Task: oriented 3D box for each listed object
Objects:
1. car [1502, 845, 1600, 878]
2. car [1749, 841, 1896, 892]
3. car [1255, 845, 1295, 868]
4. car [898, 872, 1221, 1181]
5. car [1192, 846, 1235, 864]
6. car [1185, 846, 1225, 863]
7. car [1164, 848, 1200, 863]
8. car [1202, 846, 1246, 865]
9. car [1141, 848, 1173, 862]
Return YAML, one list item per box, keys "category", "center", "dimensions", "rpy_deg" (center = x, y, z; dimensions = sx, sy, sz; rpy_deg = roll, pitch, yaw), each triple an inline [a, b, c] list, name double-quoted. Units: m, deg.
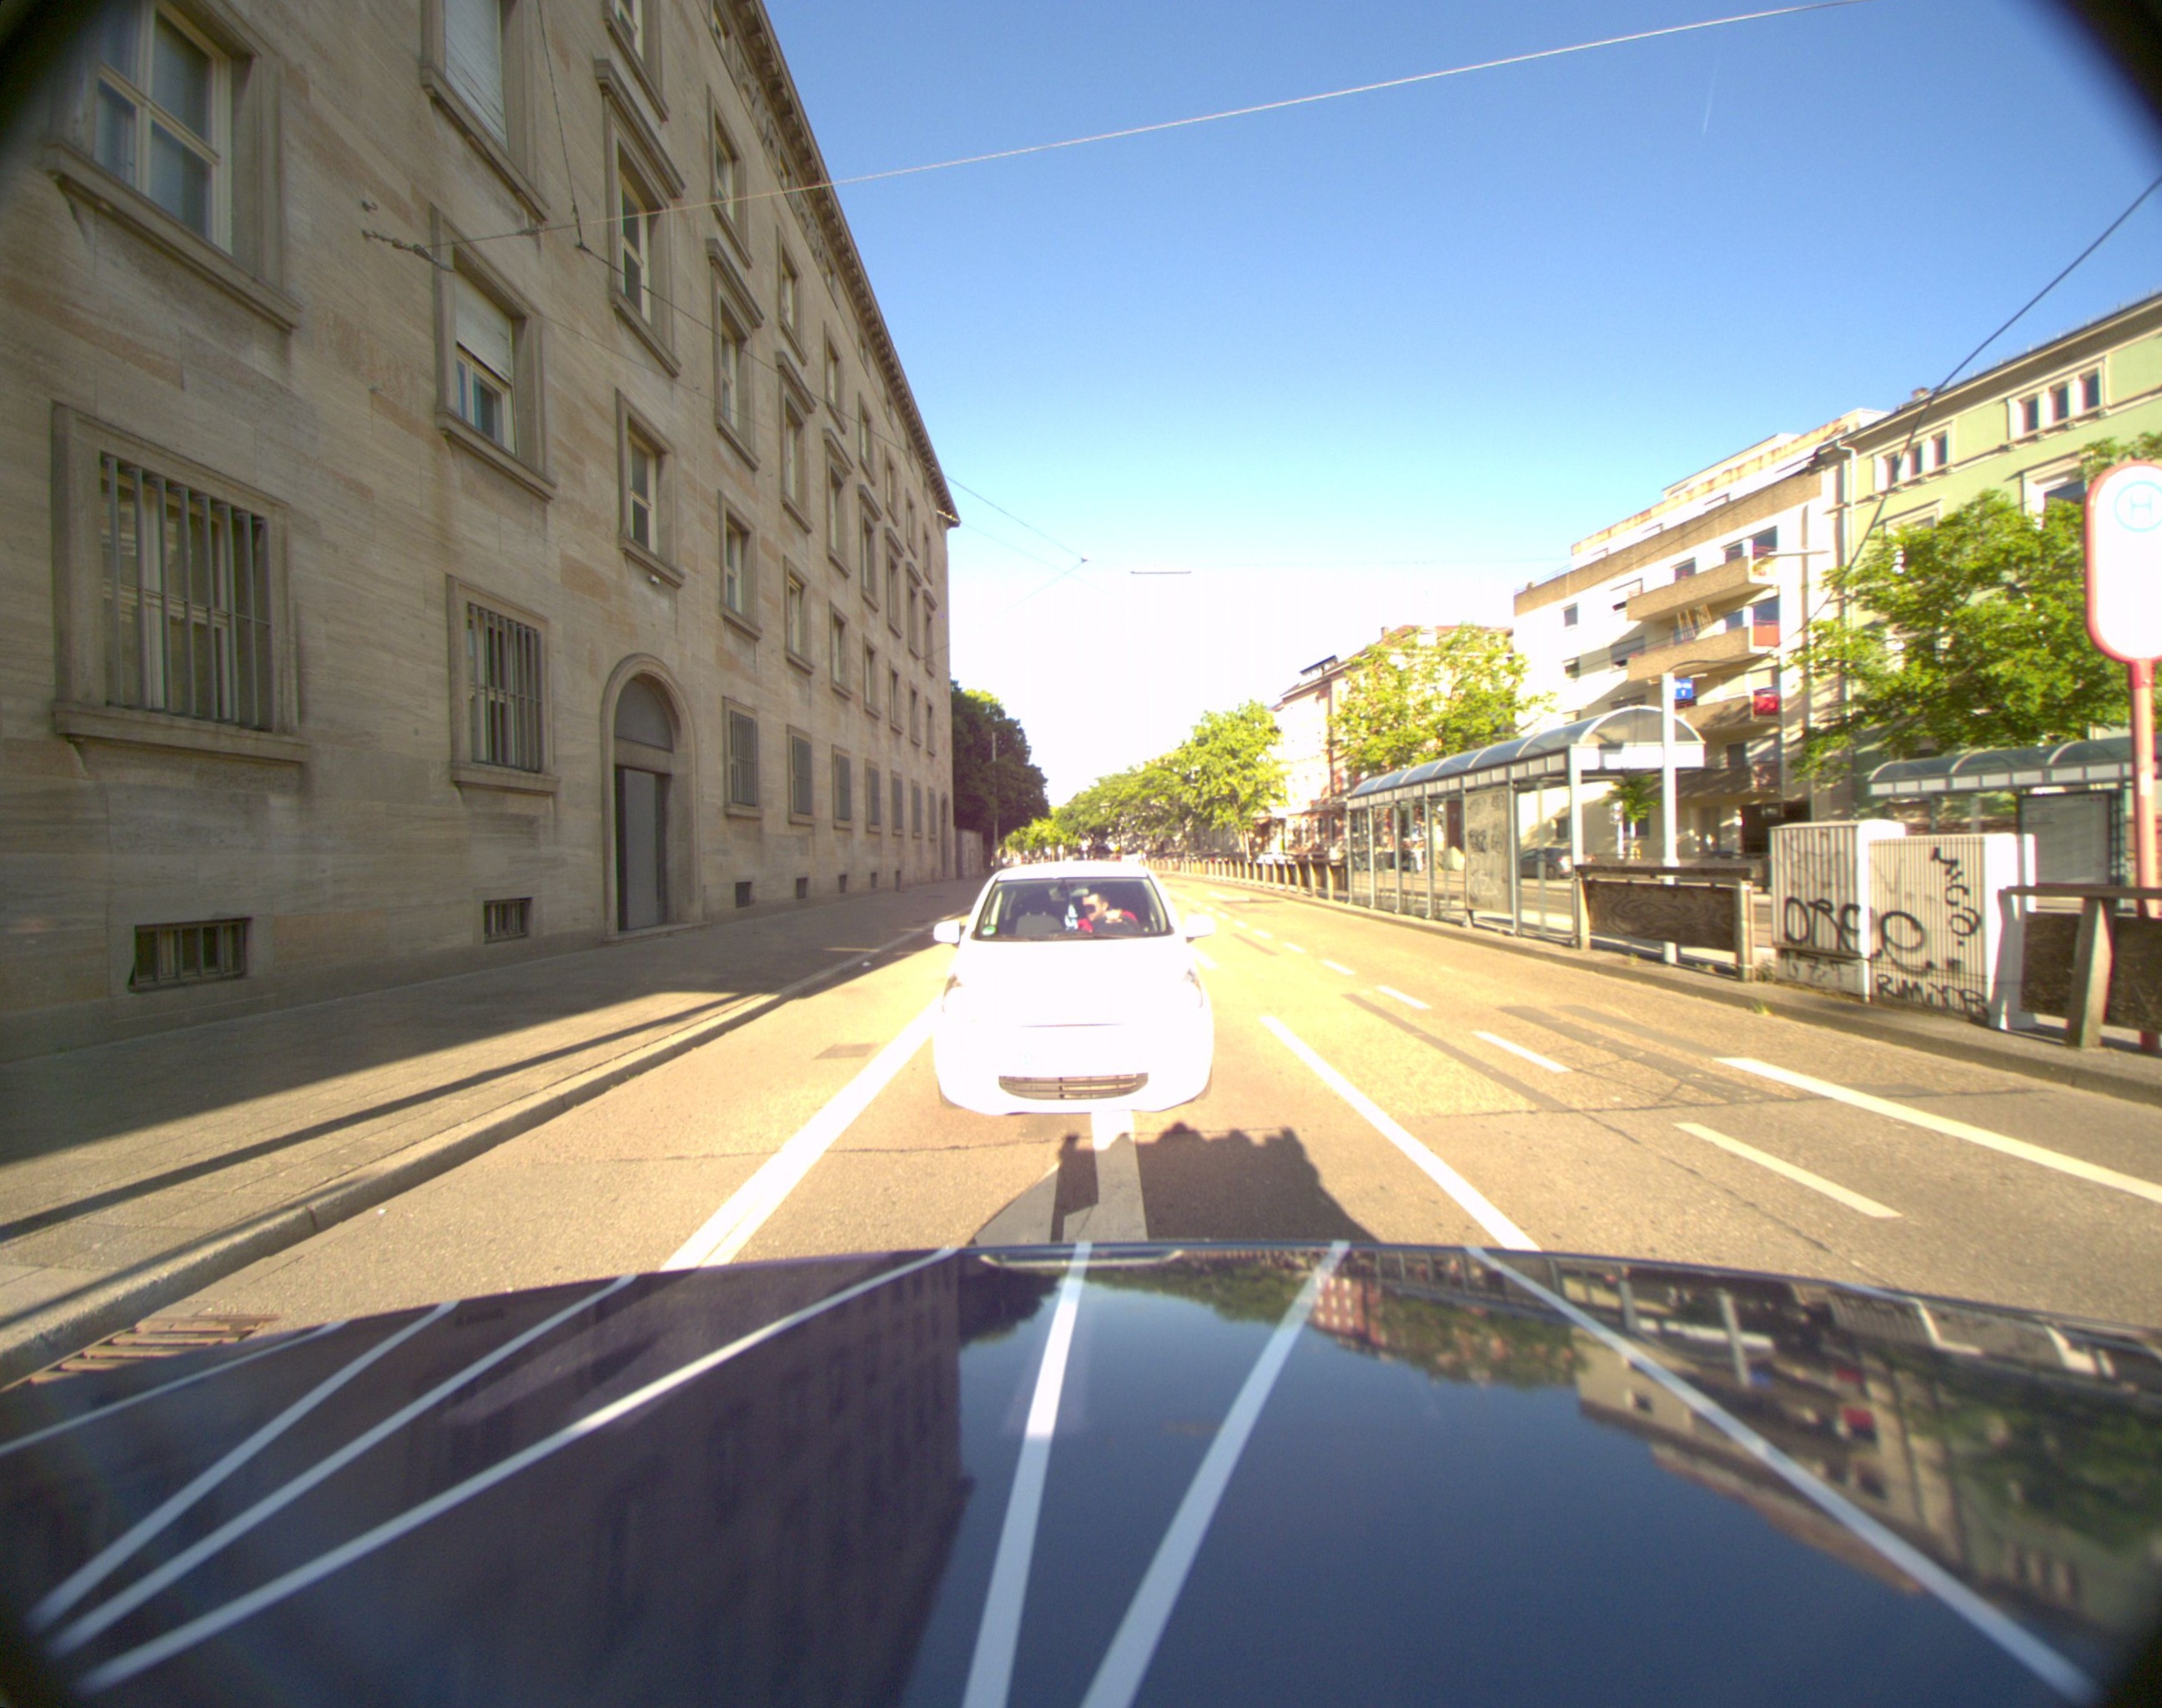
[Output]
- category: "car"
  center: [20.842, 0.313, 33.831]
  dimensions: [1.615, 1.387, 3.516]
  rpy_deg: [-1, 0, -19]
- category: "car"
  center: [23.931, 0.367, 24.547]
  dimensions: [3.796, 1.526, 1.772]
  rpy_deg: [-1, 0, -17]
- category: "car"
  center: [16.300, 0.158, 63.674]
  dimensions: [1.994, 1.713, 4.007]
  rpy_deg: [0, 2, 34]
- category: "car"
  center: [-0.082, 0.919, 5.680]
  dimensions: [1.612, 1.450, 3.667]
  rpy_deg: [-1, 0, 1]
- category: "car"
  center: [13.346, 0.107, 76.723]
  dimensions: [3.996, 1.674, 2.000]
  rpy_deg: [-1, 0, 4]
- category: "car"
  center: [13.153, 0.078, 80.526]
  dimensions: [3.996, 1.674, 2.000]
  rpy_deg: [-1, 0, 4]
- category: "car"
  center: [11.431, 0.138, 86.086]
  dimensions: [3.864, 1.583, 2.001]
  rpy_deg: [-1, 0, 5]
- category: "car"
  center: [13.632, 0.123, 72.589]
  dimensions: [3.996, 1.674, 2.000]
  rpy_deg: [-1, 0, 4]
- category: "car"
  center: [9.558, 0.123, 95.712]
  dimensions: [3.864, 1.583, 2.001]
  rpy_deg: [-1, 0, 4]
